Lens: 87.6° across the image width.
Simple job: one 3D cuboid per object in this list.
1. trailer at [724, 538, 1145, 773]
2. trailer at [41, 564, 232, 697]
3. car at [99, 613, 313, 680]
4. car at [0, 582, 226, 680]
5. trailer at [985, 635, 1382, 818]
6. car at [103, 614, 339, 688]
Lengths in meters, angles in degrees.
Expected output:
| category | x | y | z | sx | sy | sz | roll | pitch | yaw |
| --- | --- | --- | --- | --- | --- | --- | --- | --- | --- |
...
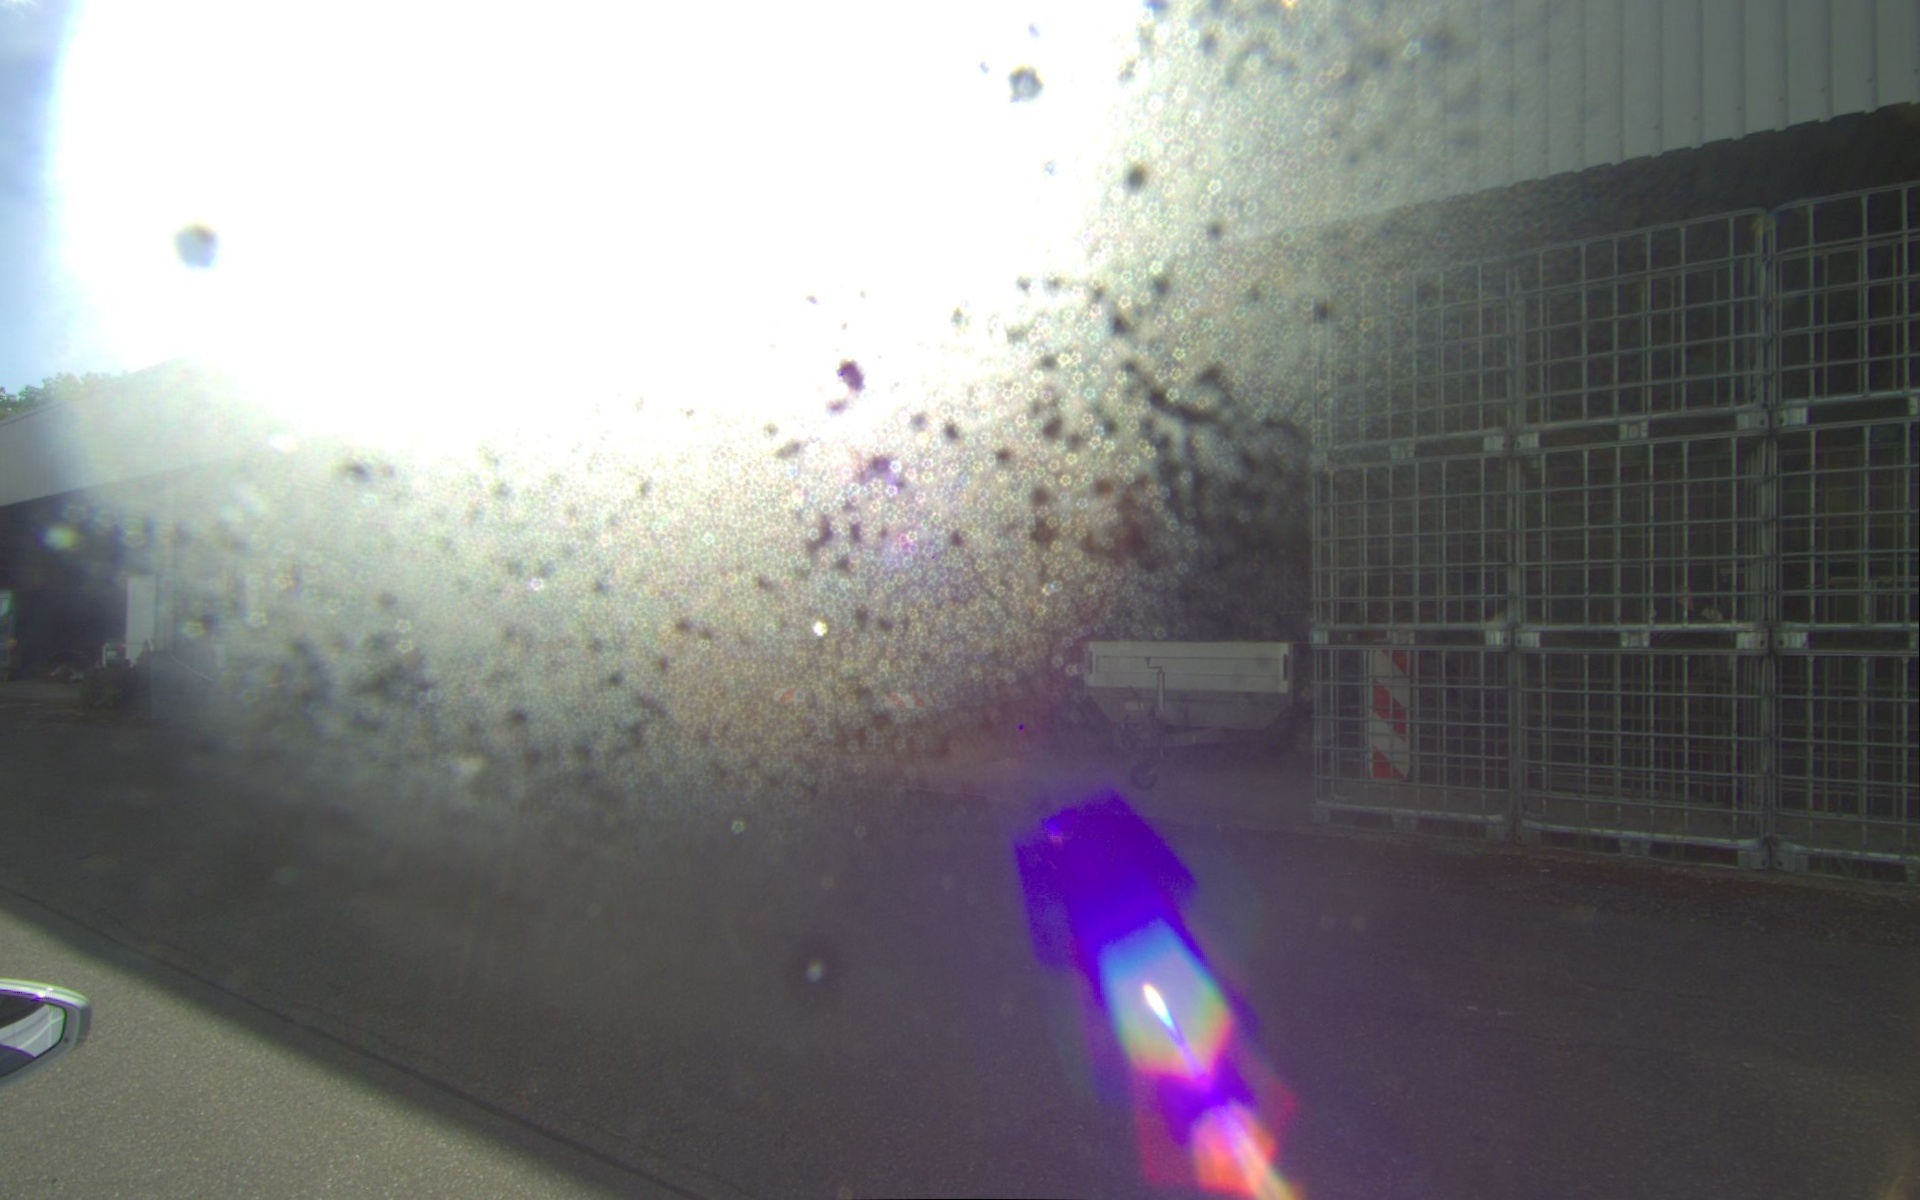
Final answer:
| category | x | y | z | sx | sy | sz | roll | pitch | yaw |
| --- | --- | --- | --- | --- | --- | --- | --- | --- | --- |
| trailer | 0.085 | 0.551 | 11.758 | 2.049 | 2.058 | 5.753 | 0 | -1 | 33 |
| trailer | -16.172 | 0.612 | 19.734 | 1.703 | 2.429 | 2.518 | -2 | -2 | 33 |
| car | -19.115 | 1.228 | 25.556 | 1.662 | 1.543 | 4.031 | -3 | -5 | 33 |
| car | -22.266 | 0.902 | 26.293 | 1.890 | 2.337 | 4.425 | -3 | -4 | 33 |
| trailer | 2.572 | 0.951 | 9.771 | 2.110 | 1.148 | 5.840 | -1 | -1 | 31 |
| car | -16.782 | 1.207 | 22.935 | 1.662 | 1.543 | 4.031 | -3 | -5 | 33 |
